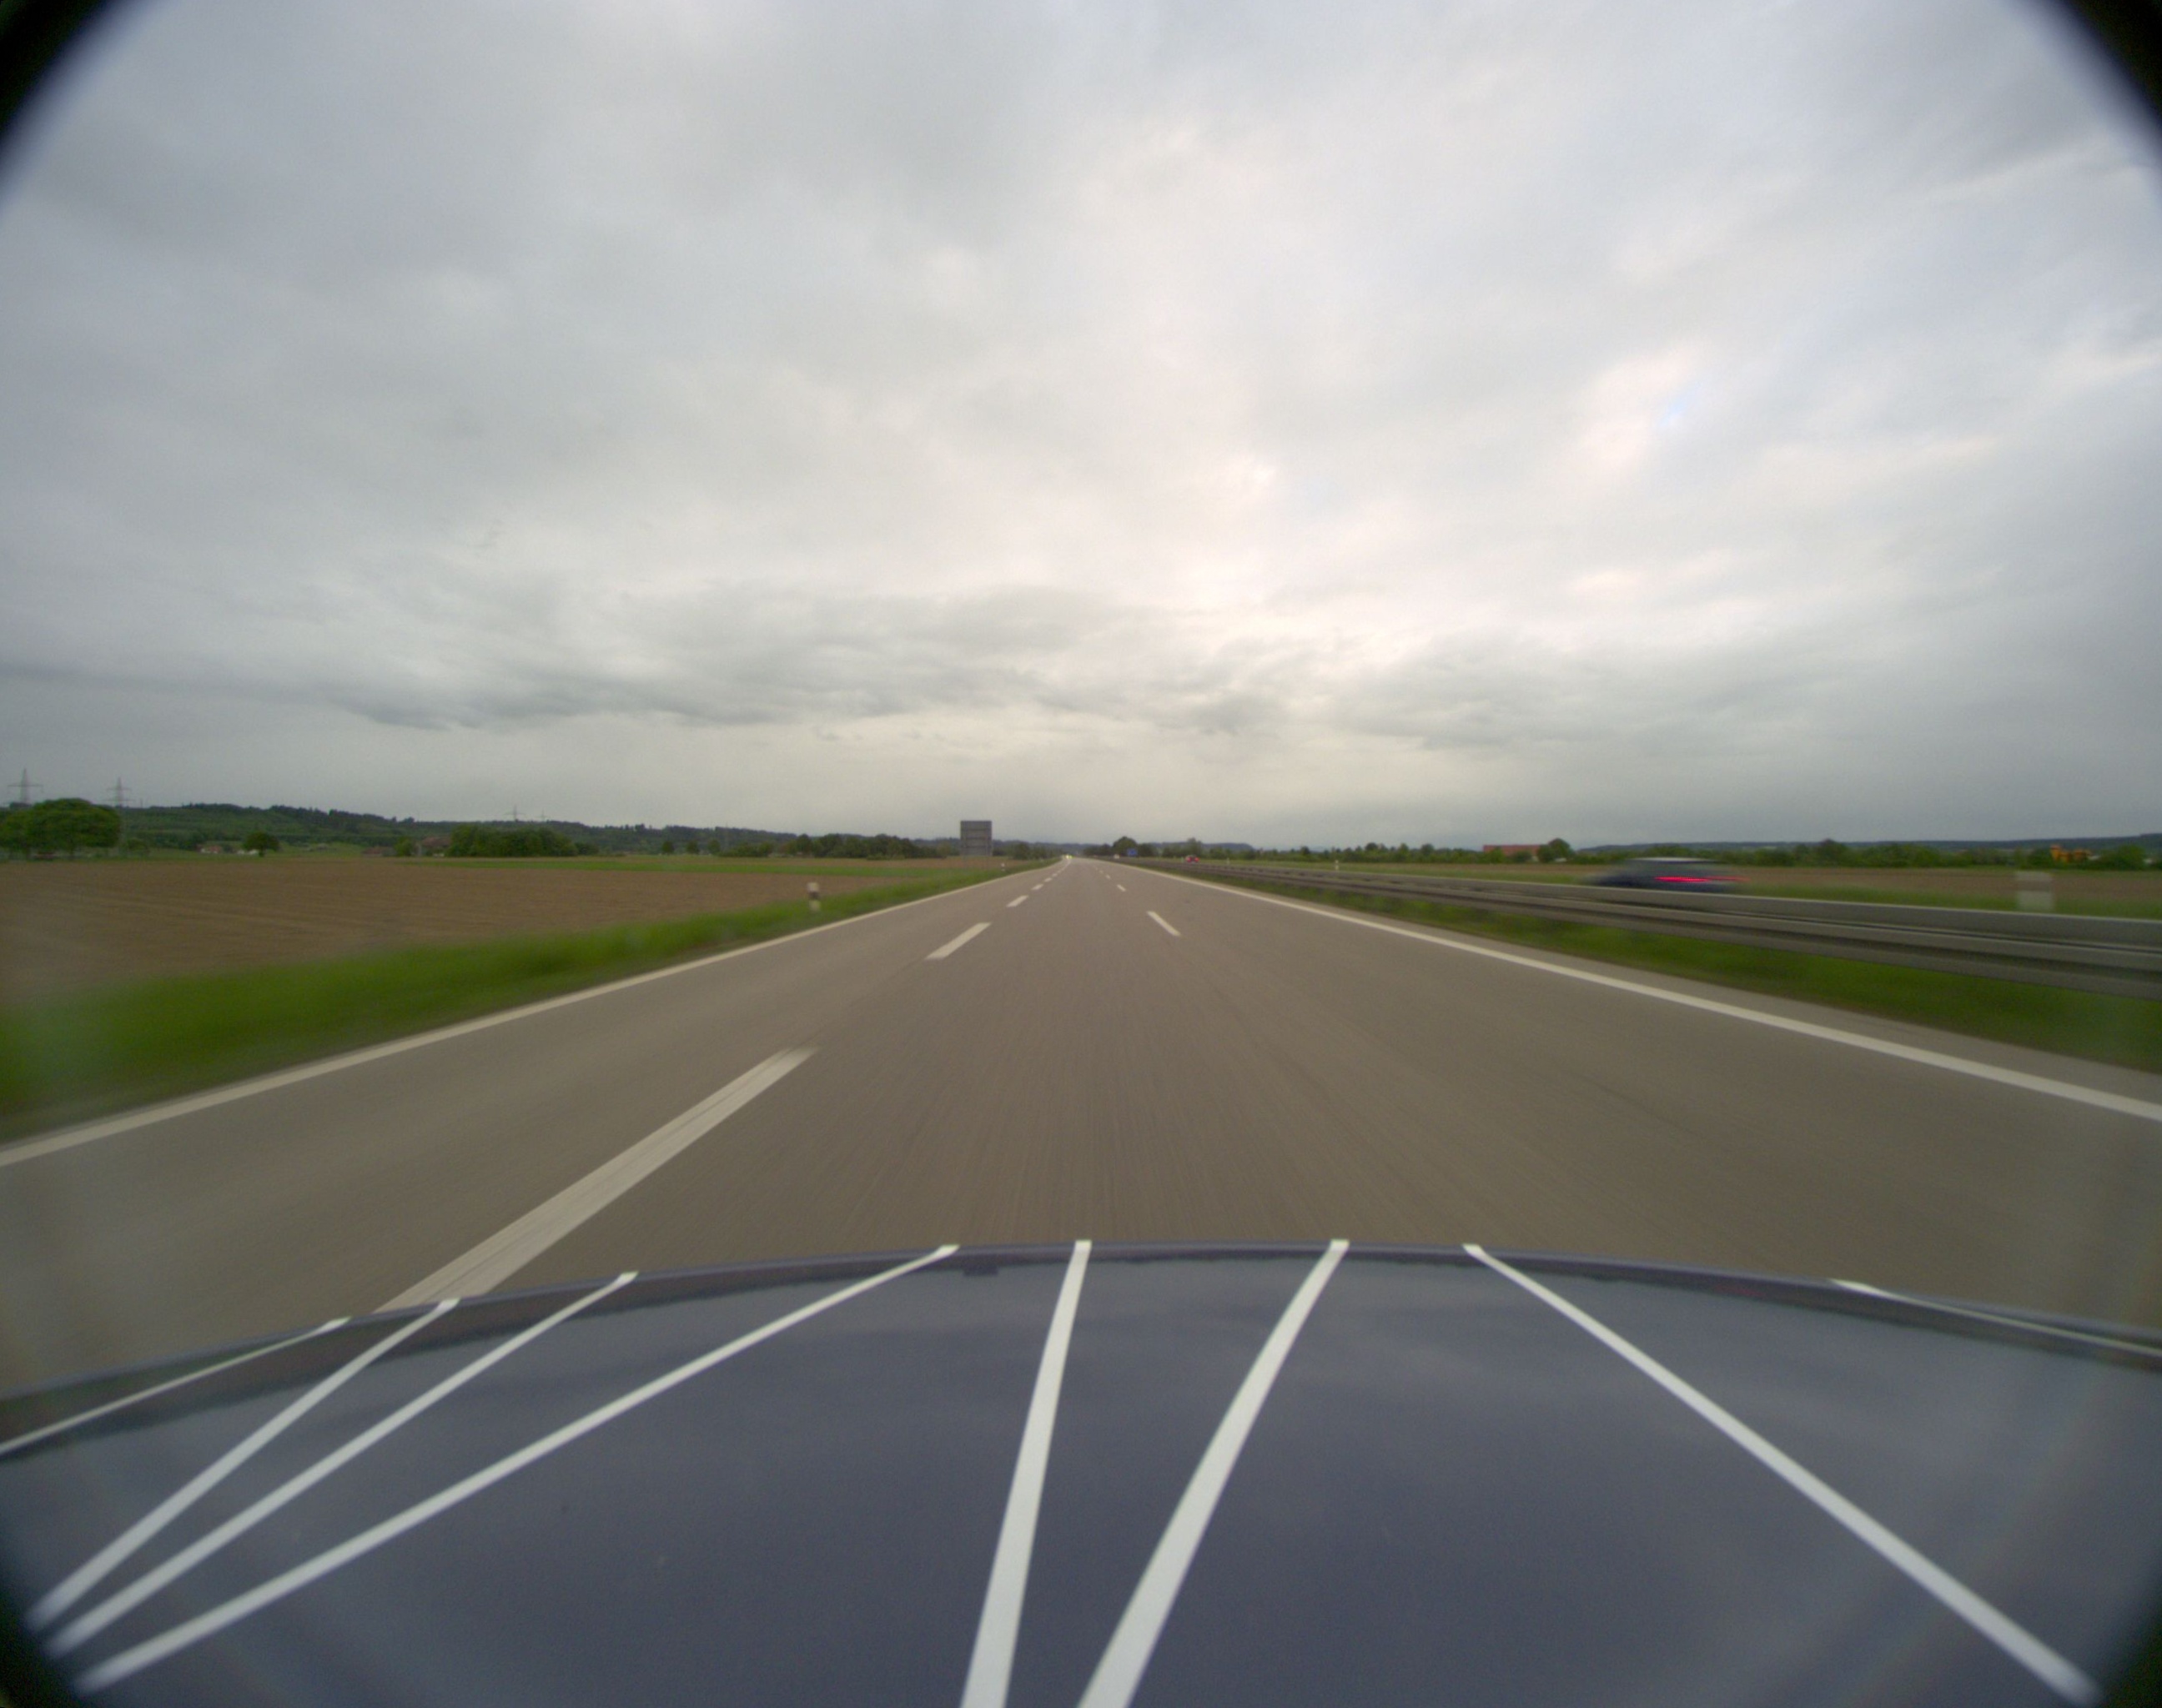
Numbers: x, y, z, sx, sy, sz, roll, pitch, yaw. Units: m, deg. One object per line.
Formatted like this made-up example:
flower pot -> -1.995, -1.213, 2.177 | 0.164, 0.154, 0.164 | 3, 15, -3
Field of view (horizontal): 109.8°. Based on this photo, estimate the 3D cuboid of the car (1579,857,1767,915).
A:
car -> 17.037, 0.854, 22.223 | 1.998, 1.408, 4.523 | -2, 0, 1

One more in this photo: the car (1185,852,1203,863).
car -> 17.514, 0.533, 117.929 | 1.998, 1.471, 4.451 | -2, 0, 0
